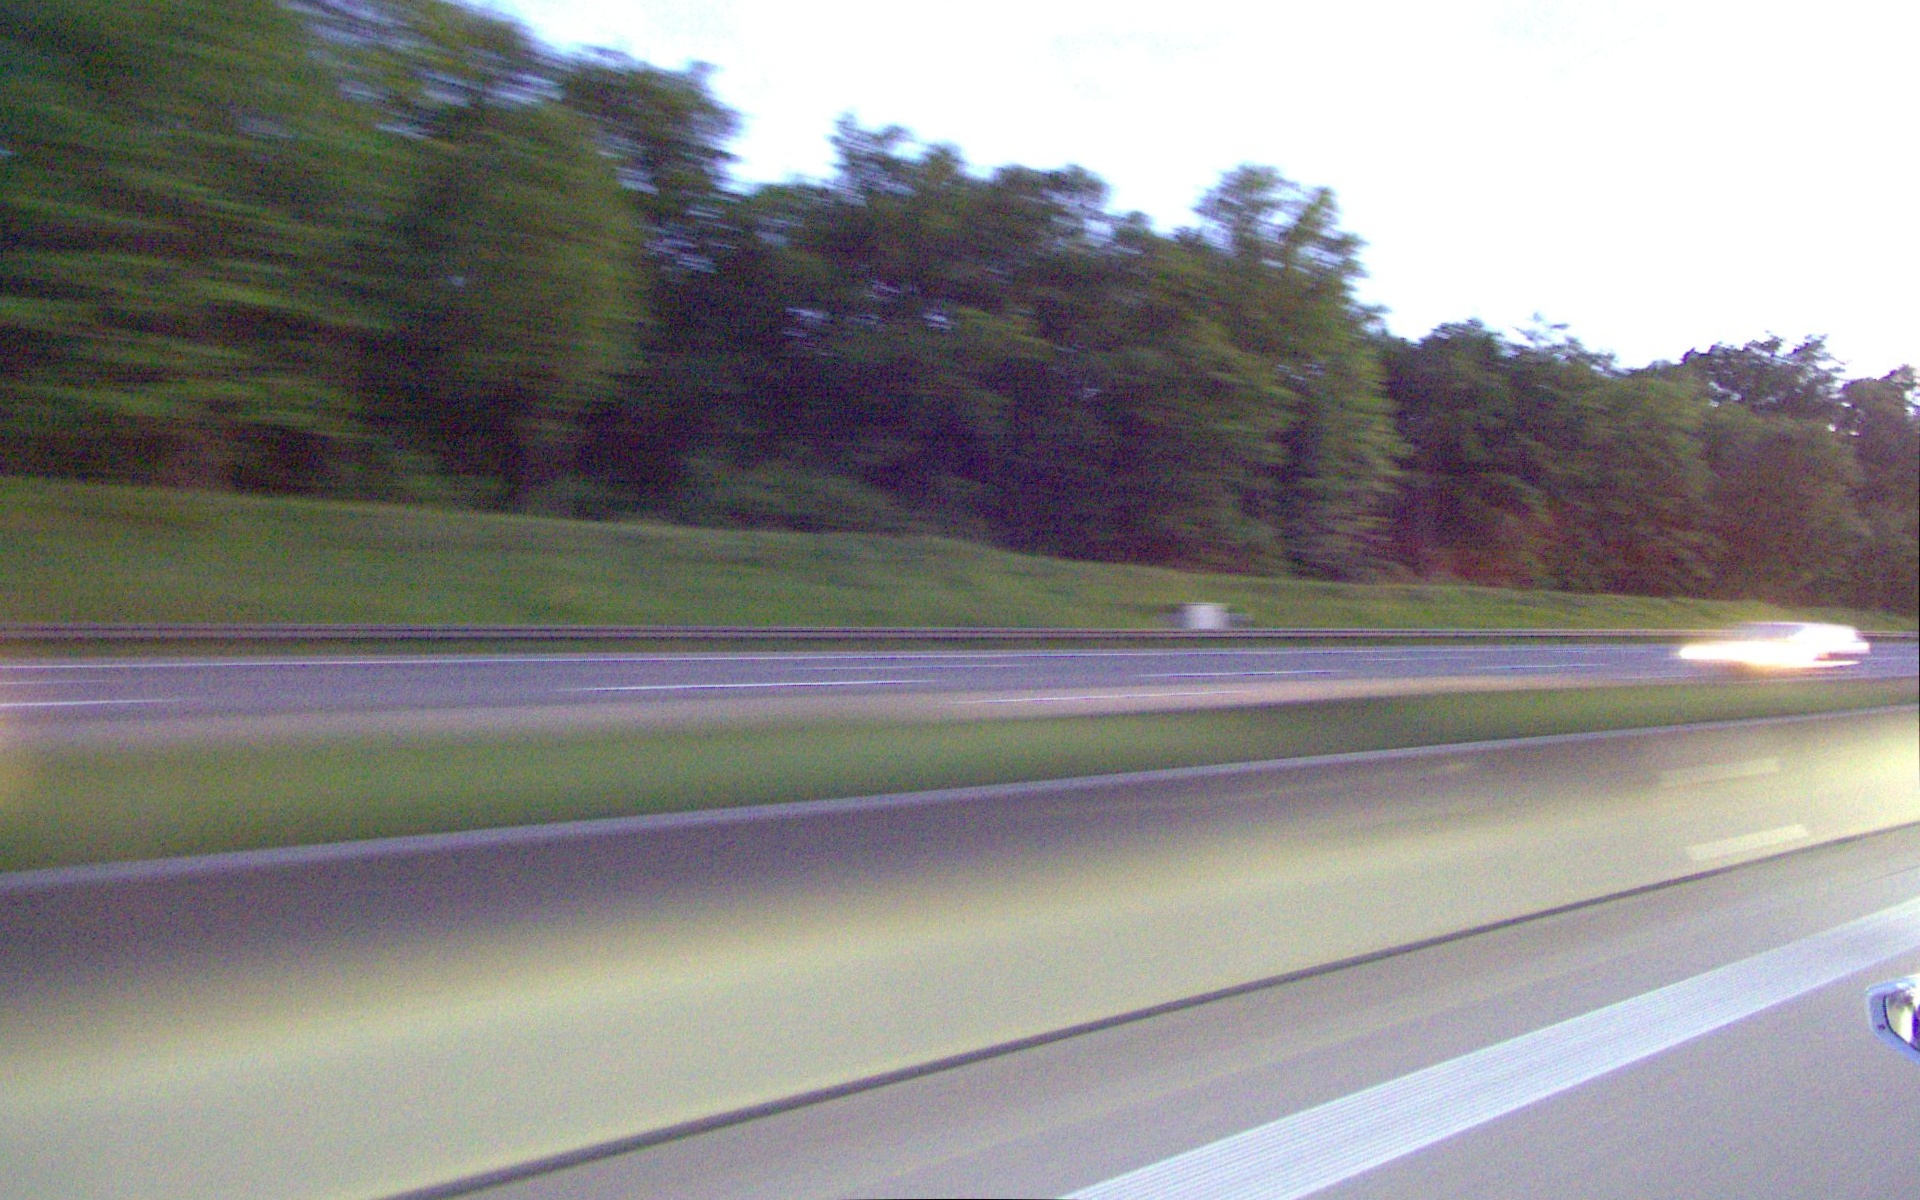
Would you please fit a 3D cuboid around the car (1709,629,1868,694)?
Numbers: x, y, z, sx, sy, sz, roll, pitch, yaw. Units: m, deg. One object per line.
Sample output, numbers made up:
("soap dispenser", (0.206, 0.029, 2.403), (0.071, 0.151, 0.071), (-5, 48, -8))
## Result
("car", (20.353, 1.466, 24.637), (4.264, 1.424, 1.611), (1, -1, -30))
